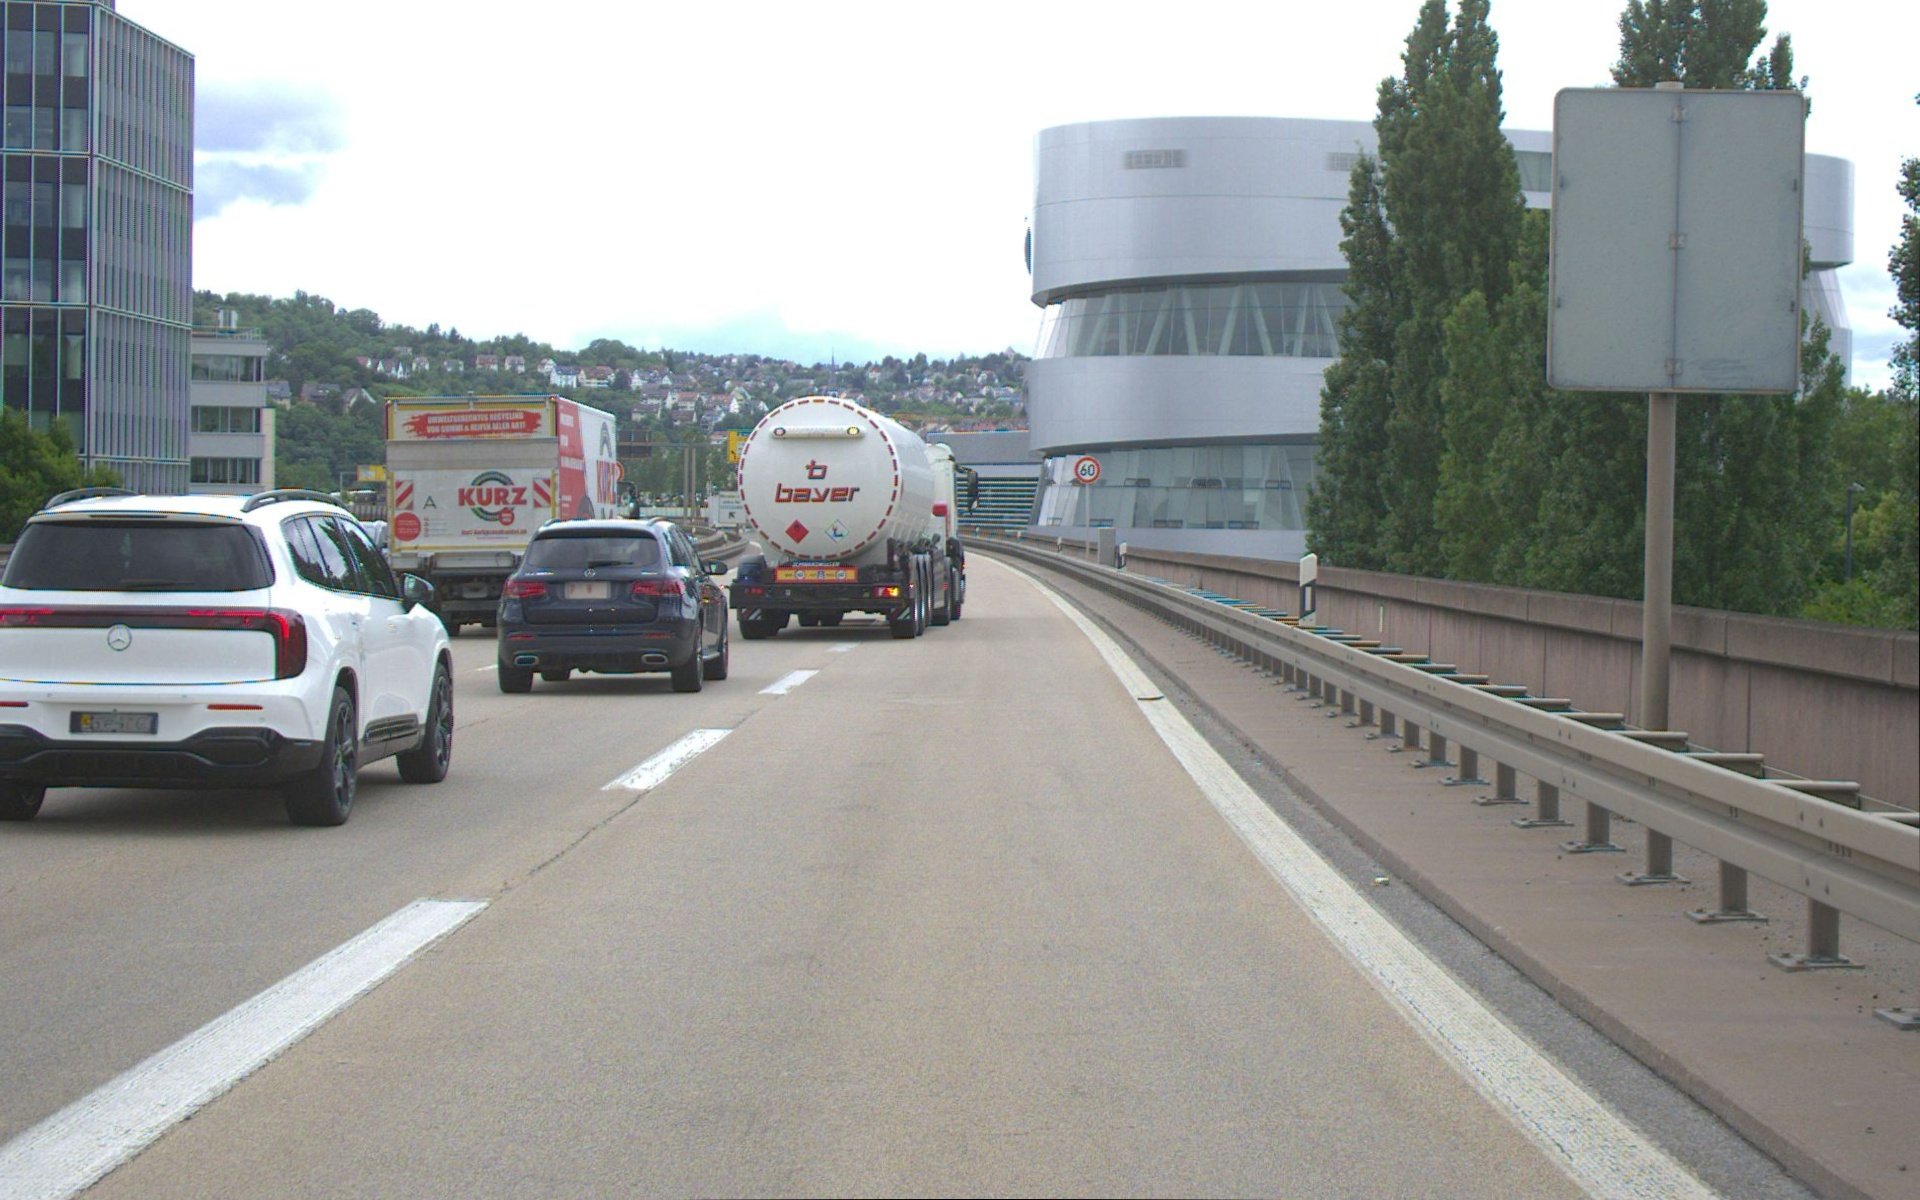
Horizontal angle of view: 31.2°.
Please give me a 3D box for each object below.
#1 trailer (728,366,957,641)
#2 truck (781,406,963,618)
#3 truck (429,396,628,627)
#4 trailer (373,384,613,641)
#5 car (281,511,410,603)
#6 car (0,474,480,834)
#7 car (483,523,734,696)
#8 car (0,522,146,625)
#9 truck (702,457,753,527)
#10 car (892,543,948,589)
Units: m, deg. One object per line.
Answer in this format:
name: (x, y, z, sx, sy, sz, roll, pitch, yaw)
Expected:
trailer: (-1.617, -1.460, 52.760, 2.792, 3.724, 11.155, -1, 1, 2)
truck: (-1.431, -1.510, 59.069, 2.769, 3.418, 5.965, -1, 1, 2)
truck: (-7.134, -1.469, 57.384, 2.691, 3.677, 4.439, -1, 1, 0)
trailer: (-7.114, -1.357, 53.329, 2.690, 3.677, 7.314, -1, 1, 0)
car: (-13.840, -0.997, 77.696, 1.993, 2.007, 4.551, -1, 1, 1)
car: (-3.998, 0.214, 18.671, 1.993, 1.663, 4.892, 1, 1, 1)
car: (-3.309, 0.058, 33.103, 1.846, 1.499, 4.265, 2, 1, 1)
car: (-14.246, -0.447, 54.601, 1.749, 1.555, 4.000, -1, 1, -1)
truck: (-13.292, -6.170, 196.776, 2.395, 3.880, 5.943, -1, 1, 0)
car: (-1.569, -1.326, 134.375, 1.993, 1.532, 4.000, 6, 0, -1)
